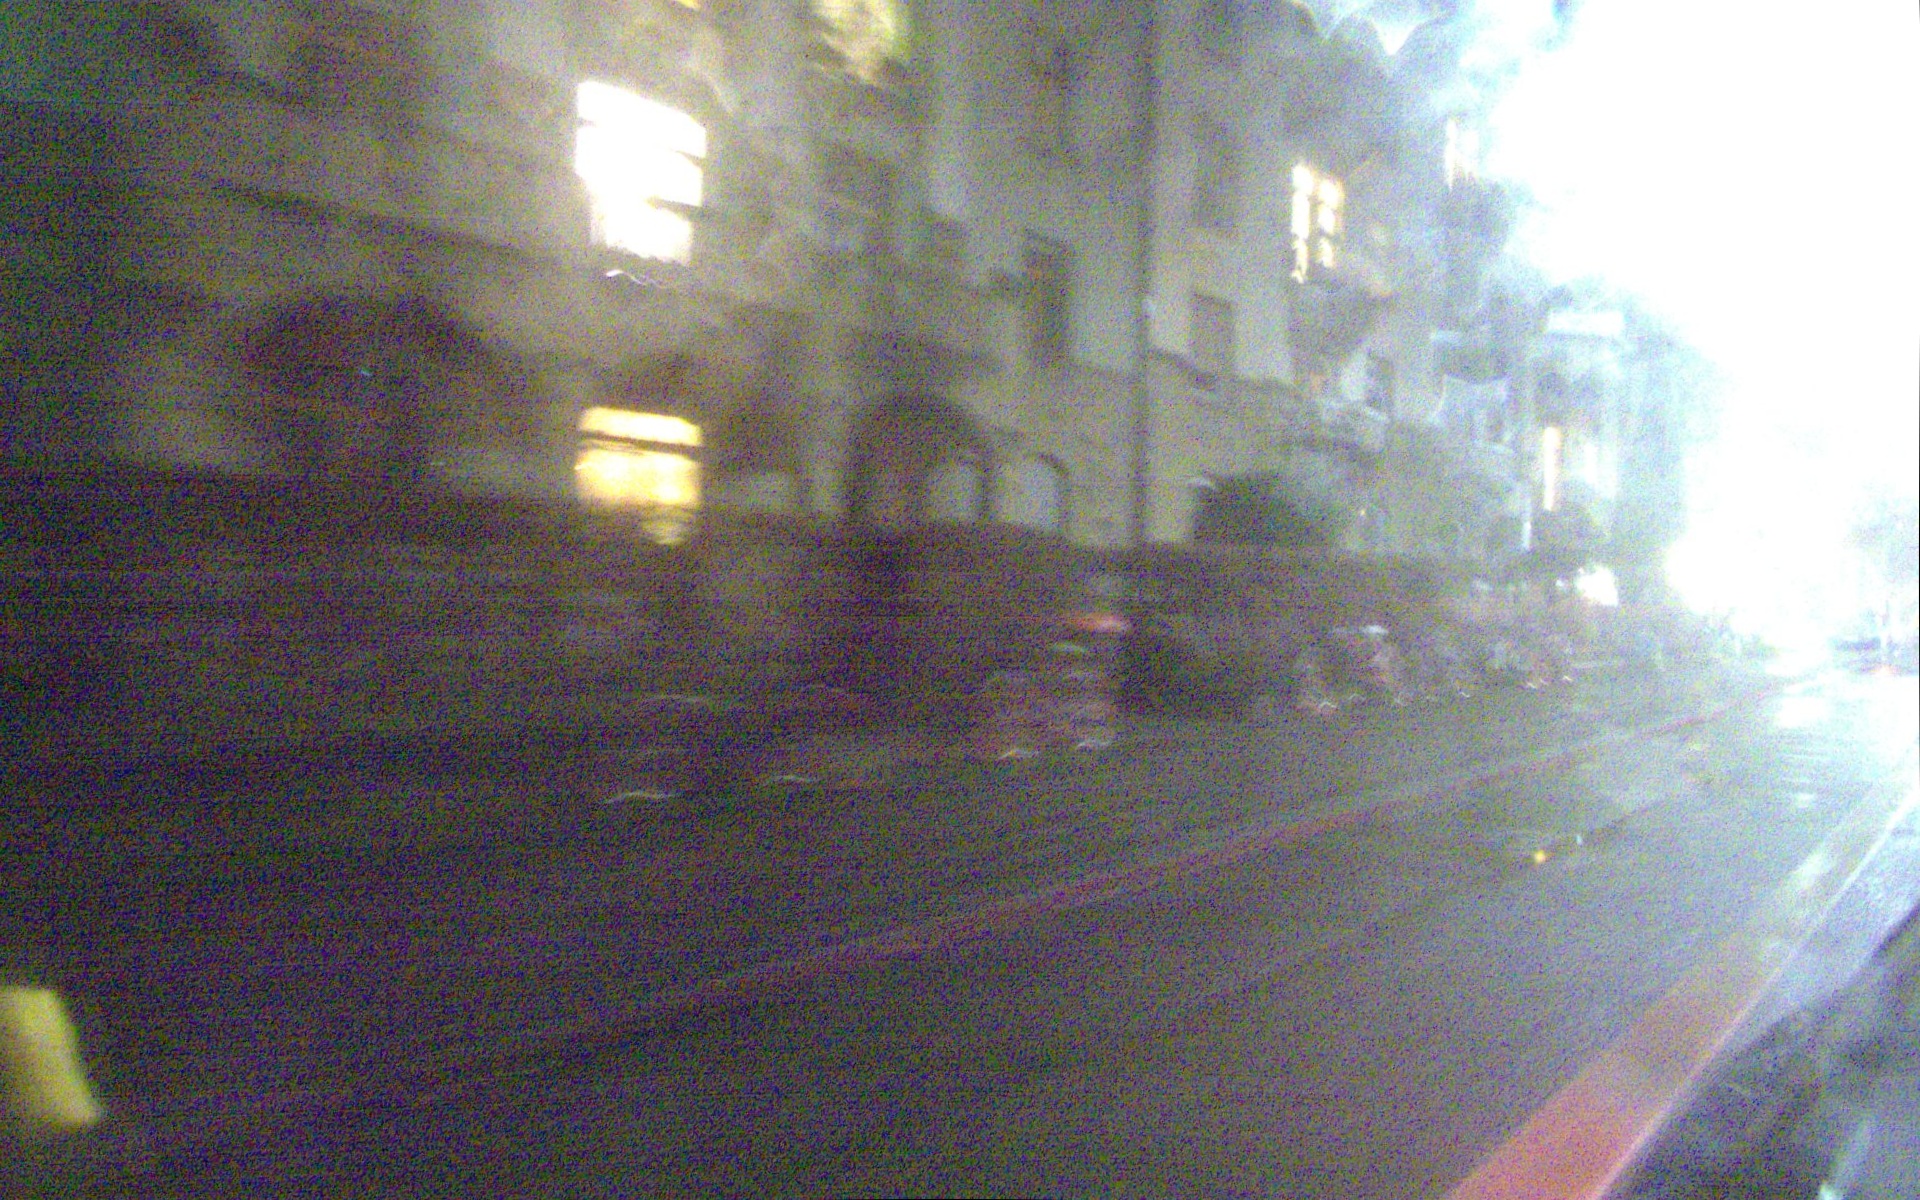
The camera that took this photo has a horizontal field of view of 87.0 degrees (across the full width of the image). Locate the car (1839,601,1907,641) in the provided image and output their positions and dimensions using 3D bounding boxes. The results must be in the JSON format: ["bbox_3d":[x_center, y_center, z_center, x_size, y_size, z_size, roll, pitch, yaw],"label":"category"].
[{"bbox_3d":[38.343,0.866,42.464,3.986,1.459,1.648,0,5,-42],"label":"car"}]

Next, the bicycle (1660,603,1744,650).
[{"bbox_3d":[21.014,0.737,28.680,0.484,1.177,1.817,-1,4,-43],"label":"bicycle"}]

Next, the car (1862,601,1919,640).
[{"bbox_3d":[42.388,0.893,46.072,3.522,1.543,1.649,0,5,-45],"label":"car"}]
